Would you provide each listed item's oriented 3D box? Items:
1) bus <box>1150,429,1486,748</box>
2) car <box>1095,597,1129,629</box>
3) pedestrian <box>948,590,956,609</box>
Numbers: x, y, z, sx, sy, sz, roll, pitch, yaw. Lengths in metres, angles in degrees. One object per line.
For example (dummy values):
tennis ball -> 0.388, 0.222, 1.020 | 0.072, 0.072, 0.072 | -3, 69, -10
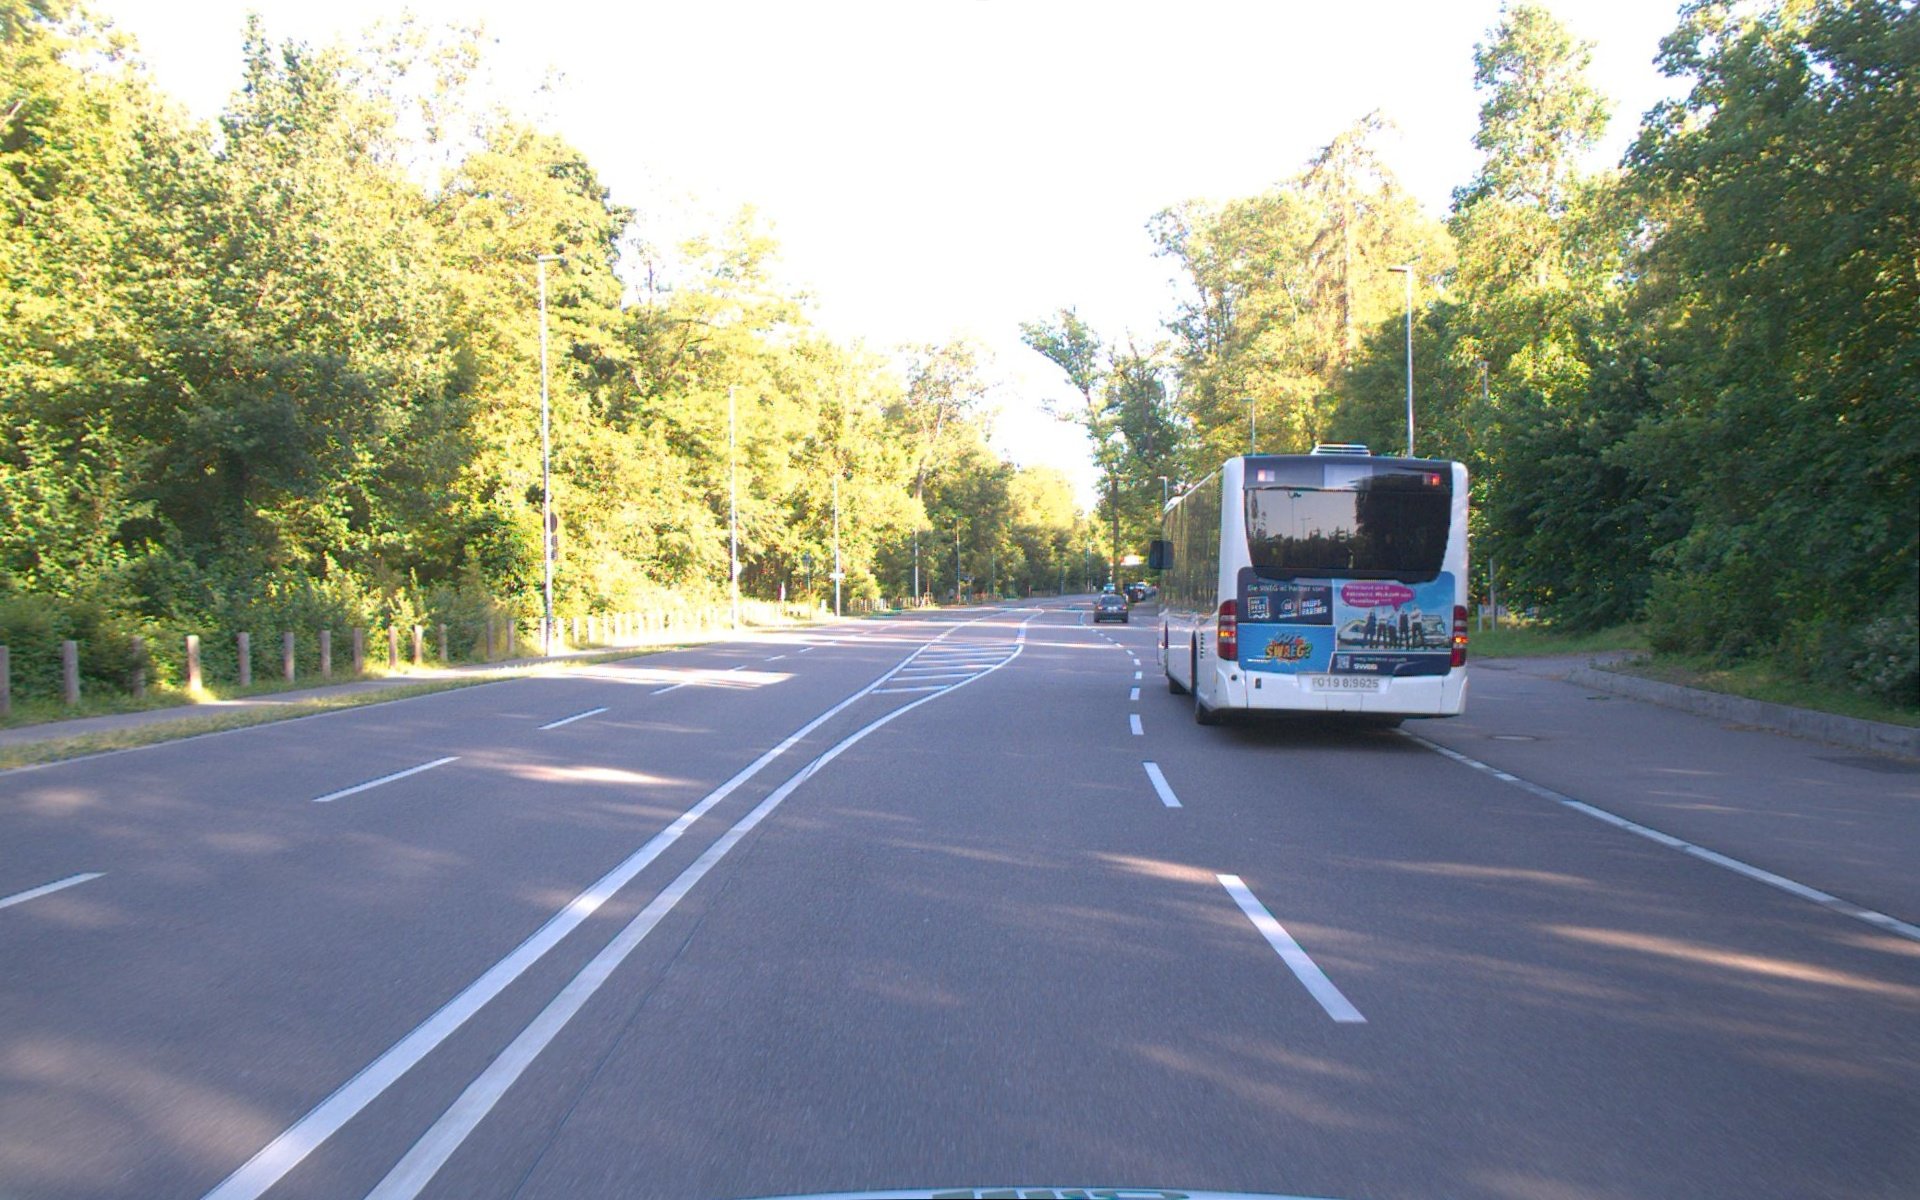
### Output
bus -> 4.180, -0.109, 22.168 | 2.633, 3.096, 12.046 | 1, 0, 4
car -> 7.882, 0.663, 85.658 | 1.597, 1.574, 4.135 | 1, 0, 8
pedestrian -> -0.806, -0.069, 162.948 | 0.763, 1.844, 0.770 | 0, 0, 4
